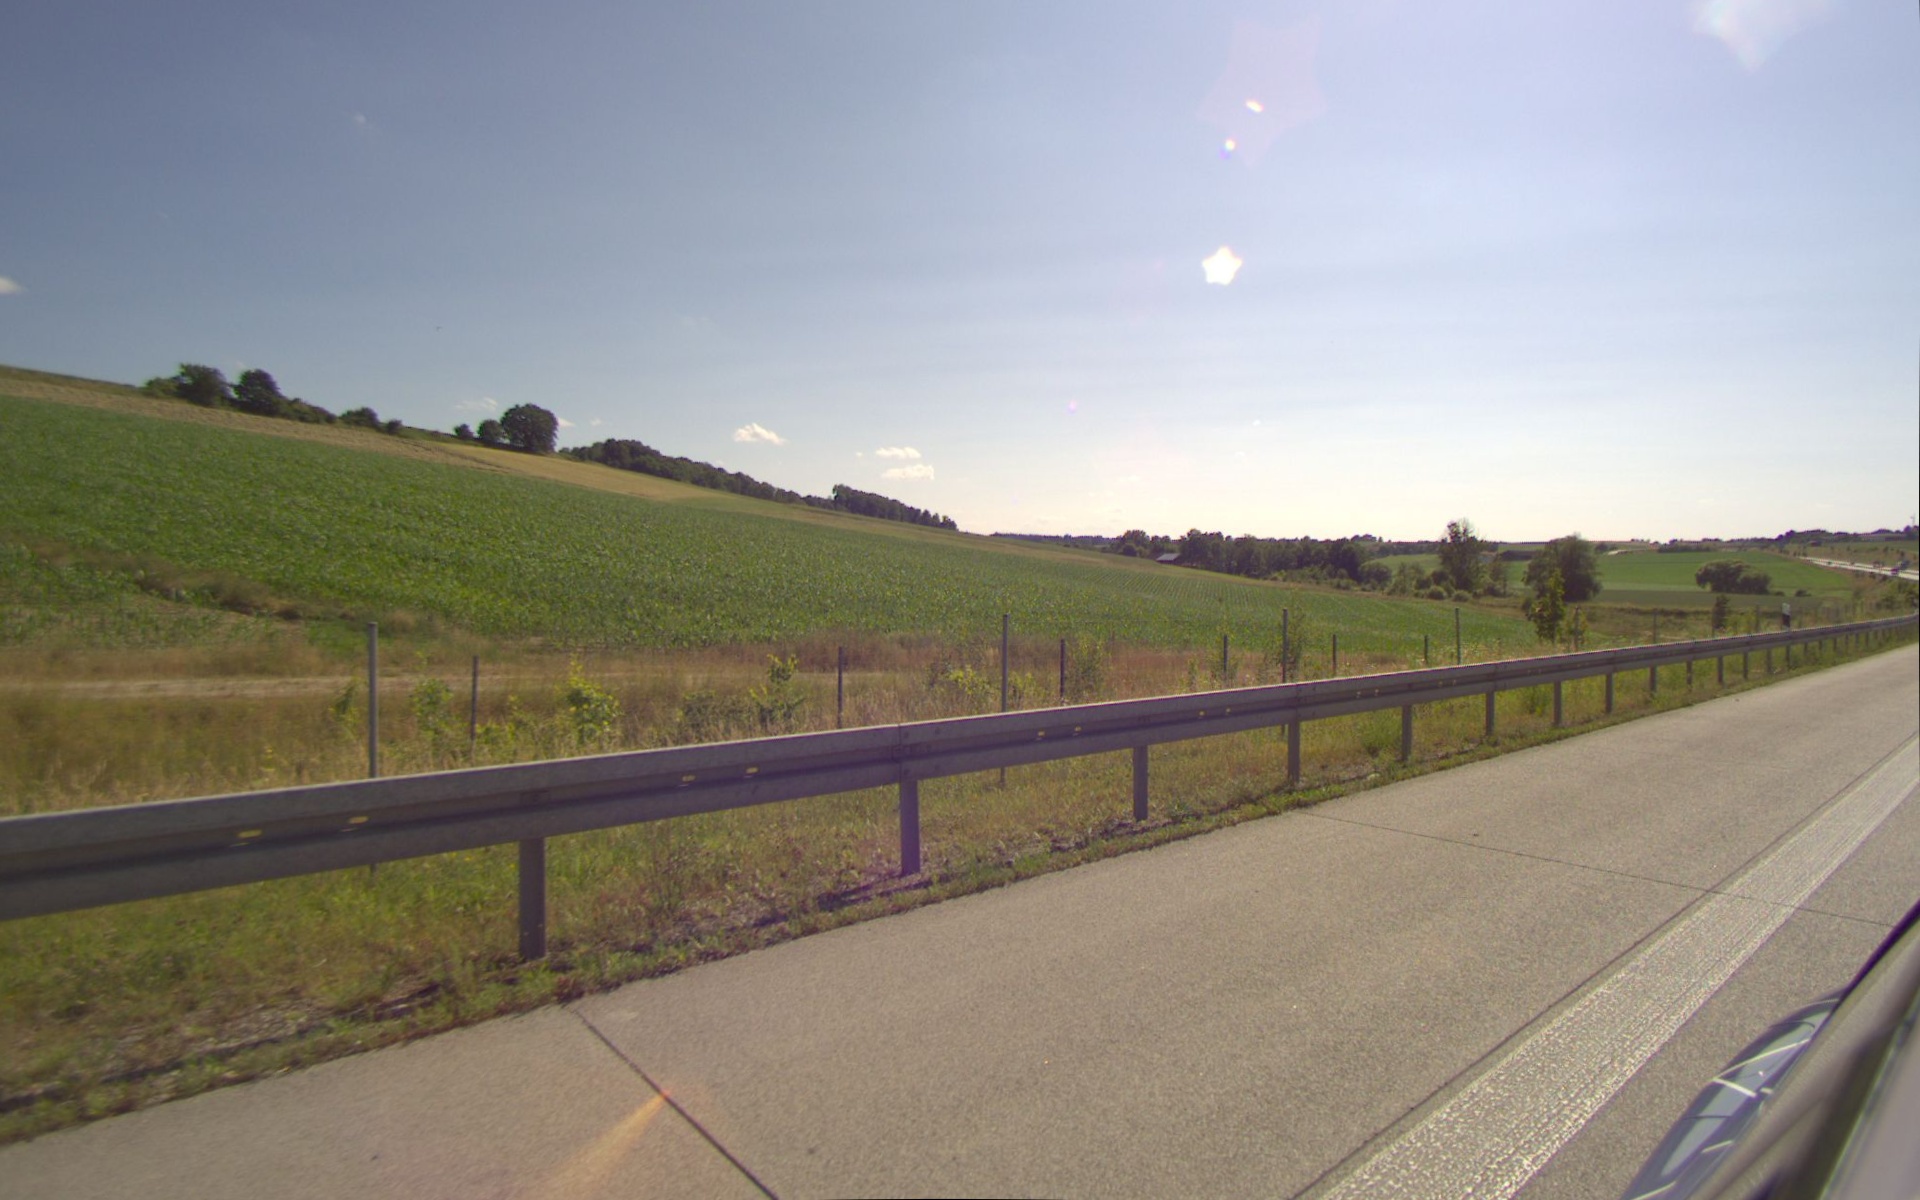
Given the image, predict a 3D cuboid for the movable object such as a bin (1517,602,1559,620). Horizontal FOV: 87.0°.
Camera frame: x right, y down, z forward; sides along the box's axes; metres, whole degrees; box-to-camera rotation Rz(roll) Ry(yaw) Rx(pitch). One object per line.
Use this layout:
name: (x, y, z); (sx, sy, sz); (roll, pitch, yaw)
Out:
movable object such as a bin: (100.012, 1.808, 175.159); (3.221, 2.805, 6.239); (-2, 2, -4)
